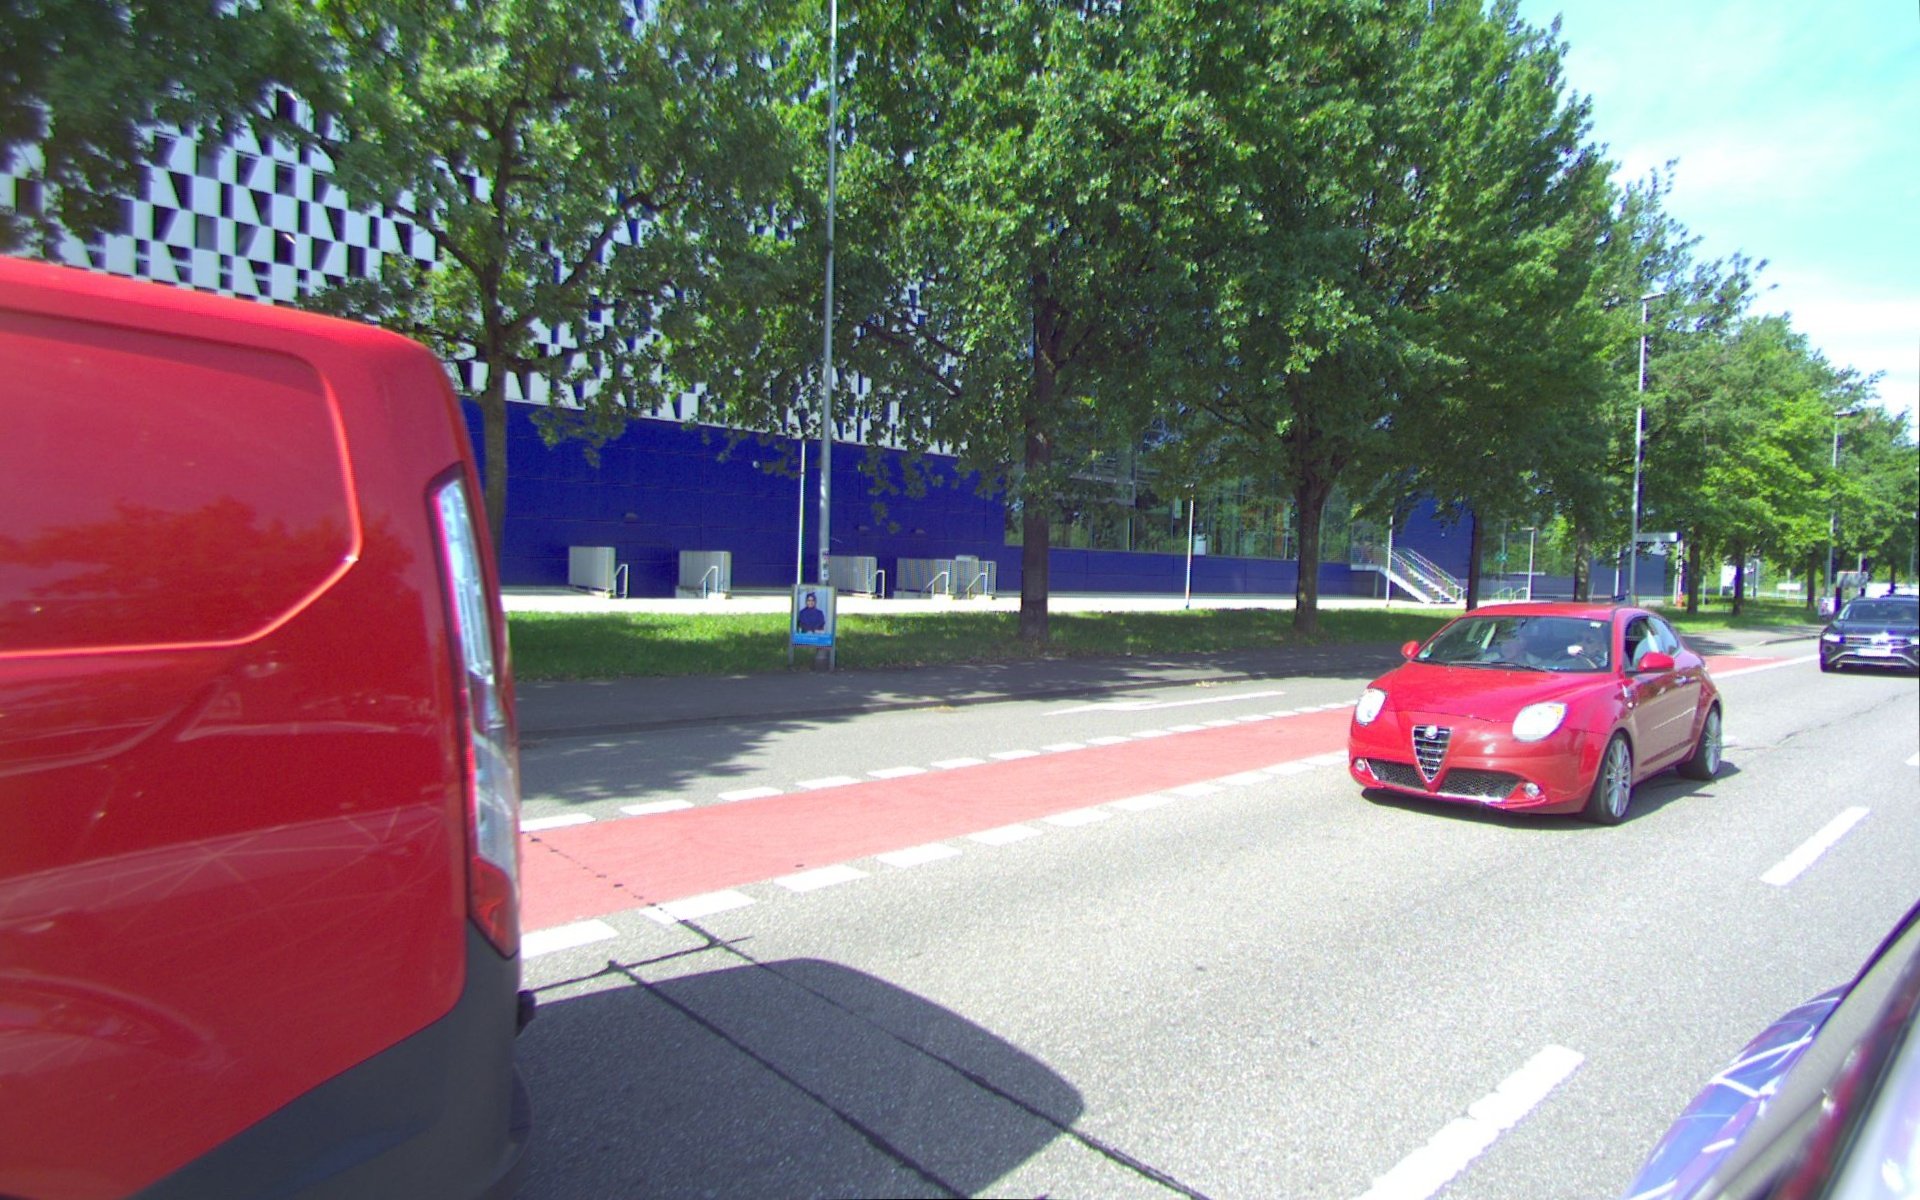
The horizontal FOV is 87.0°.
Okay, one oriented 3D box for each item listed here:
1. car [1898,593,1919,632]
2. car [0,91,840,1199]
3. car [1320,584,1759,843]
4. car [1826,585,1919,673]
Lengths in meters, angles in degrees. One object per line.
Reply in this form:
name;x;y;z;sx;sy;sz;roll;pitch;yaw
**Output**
car;51.863;0.668;52.656;1.959;2.039;4.007;0;1;-27
car;-2.777;0.377;1.071;5.036;1.992;1.971;0;1;-41
car;4.630;0.628;7.853;3.911;1.472;1.796;-1;2;-42
car;19.434;0.549;20.801;4.039;1.662;1.823;0;1;-40
